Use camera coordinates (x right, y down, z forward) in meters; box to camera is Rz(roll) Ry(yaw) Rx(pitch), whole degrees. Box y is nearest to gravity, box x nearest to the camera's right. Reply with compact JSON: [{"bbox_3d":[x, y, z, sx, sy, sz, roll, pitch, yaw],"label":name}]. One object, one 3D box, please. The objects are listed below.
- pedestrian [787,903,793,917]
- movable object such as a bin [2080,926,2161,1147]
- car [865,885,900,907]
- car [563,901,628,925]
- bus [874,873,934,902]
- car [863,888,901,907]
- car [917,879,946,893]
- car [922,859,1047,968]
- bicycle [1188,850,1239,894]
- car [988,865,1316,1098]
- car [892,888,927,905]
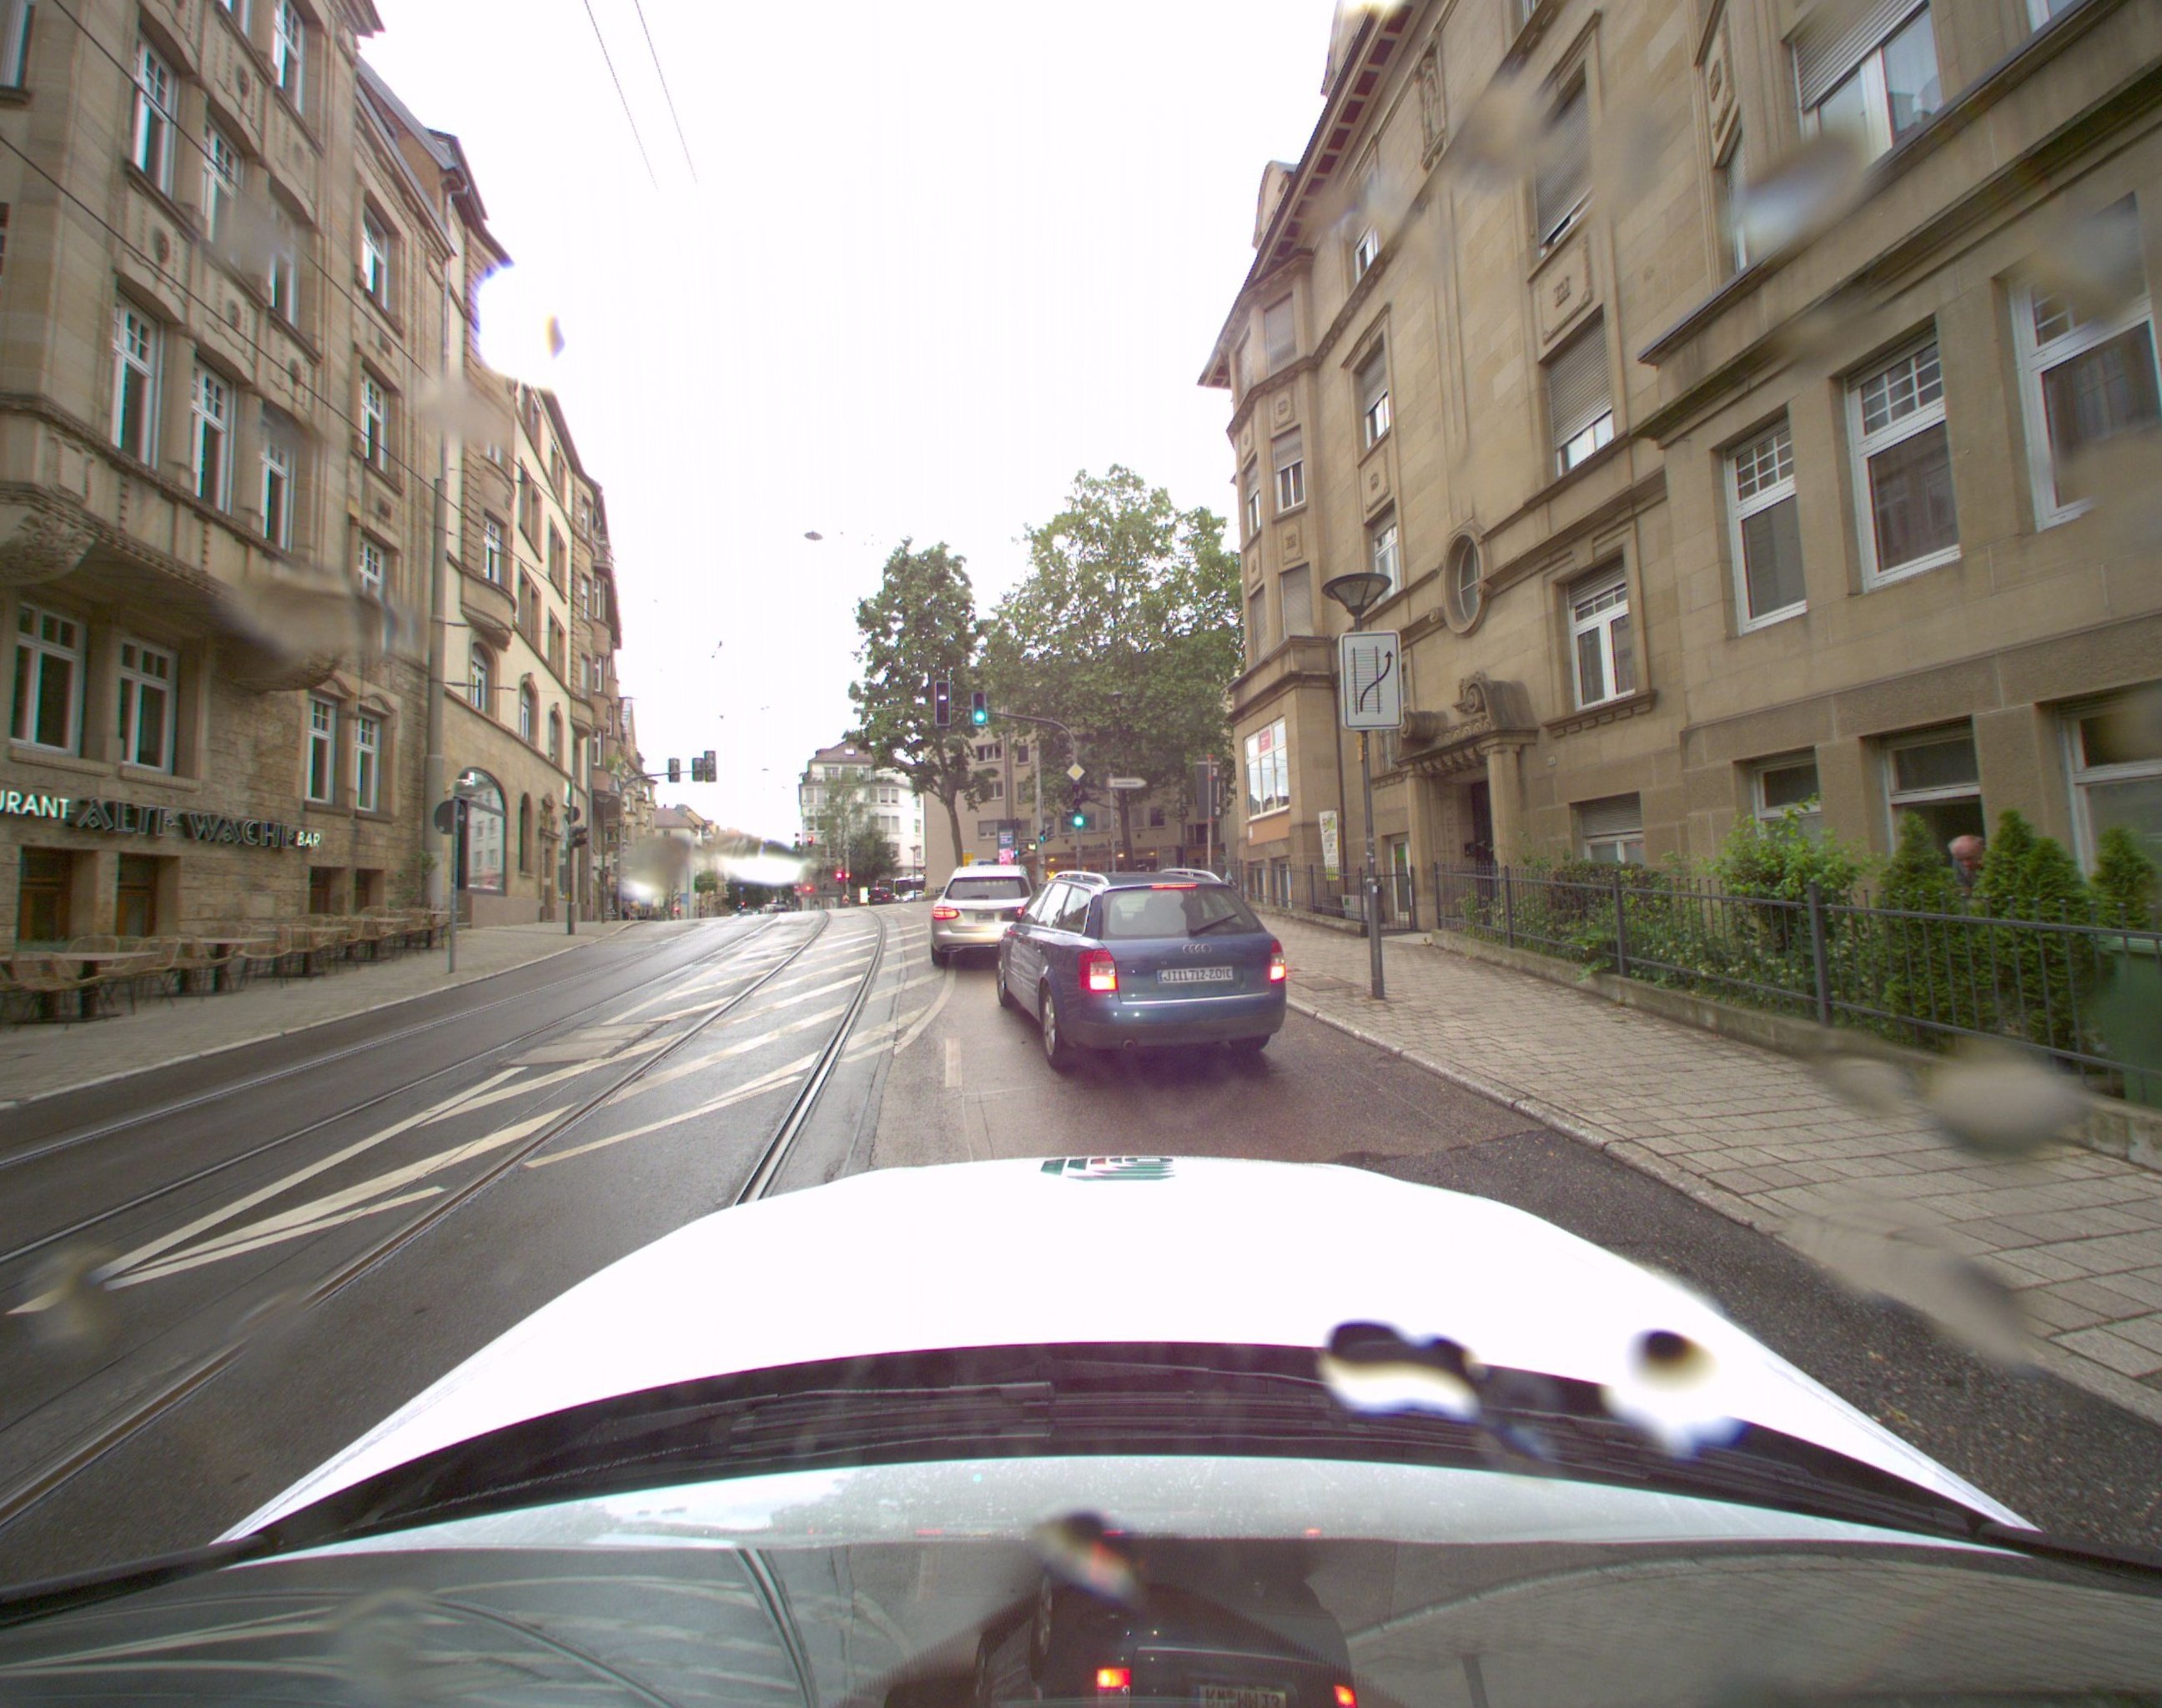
[{"bbox_3d":[-37.804,7.261,105.818,0.650,1.661,0.646,-1,-1,-18],"label":"pedestrian"},{"bbox_3d":[5.403,0.883,3.893,0.537,1.026,0.602,2,-2,-10],"label":"movable object such as a bin"},{"bbox_3d":[-16.672,3.517,68.473,1.788,1.510,4.000,-5,0,1],"label":"car"},{"bbox_3d":[-36.558,4.430,61.433,4.008,1.510,1.785,-2,0,-26],"label":"car"},{"bbox_3d":[-20.556,3.886,95.063,2.832,2.861,8.771,-3,0,16],"label":"bus"},{"bbox_3d":[-20.492,4.486,84.002,1.779,1.614,4.020,-3,0,20],"label":"car"},{"bbox_3d":[-18.644,4.014,101.699,1.779,1.510,4.020,-3,0,20],"label":"car"},{"bbox_3d":[-1.506,0.834,13.141,1.708,1.456,3.546,-1,0,-5],"label":"car"},{"bbox_3d":[3.850,0.511,23.767,1.300,1.173,0.524,-4,0,-11],"label":"bicycle"},{"bbox_3d":[0.295,0.839,7.351,1.713,1.415,4.016,-1,0,-14],"label":"car"},{"bbox_3d":[-18.659,4.611,88.872,1.779,1.510,4.020,-3,0,20],"label":"car"}]
